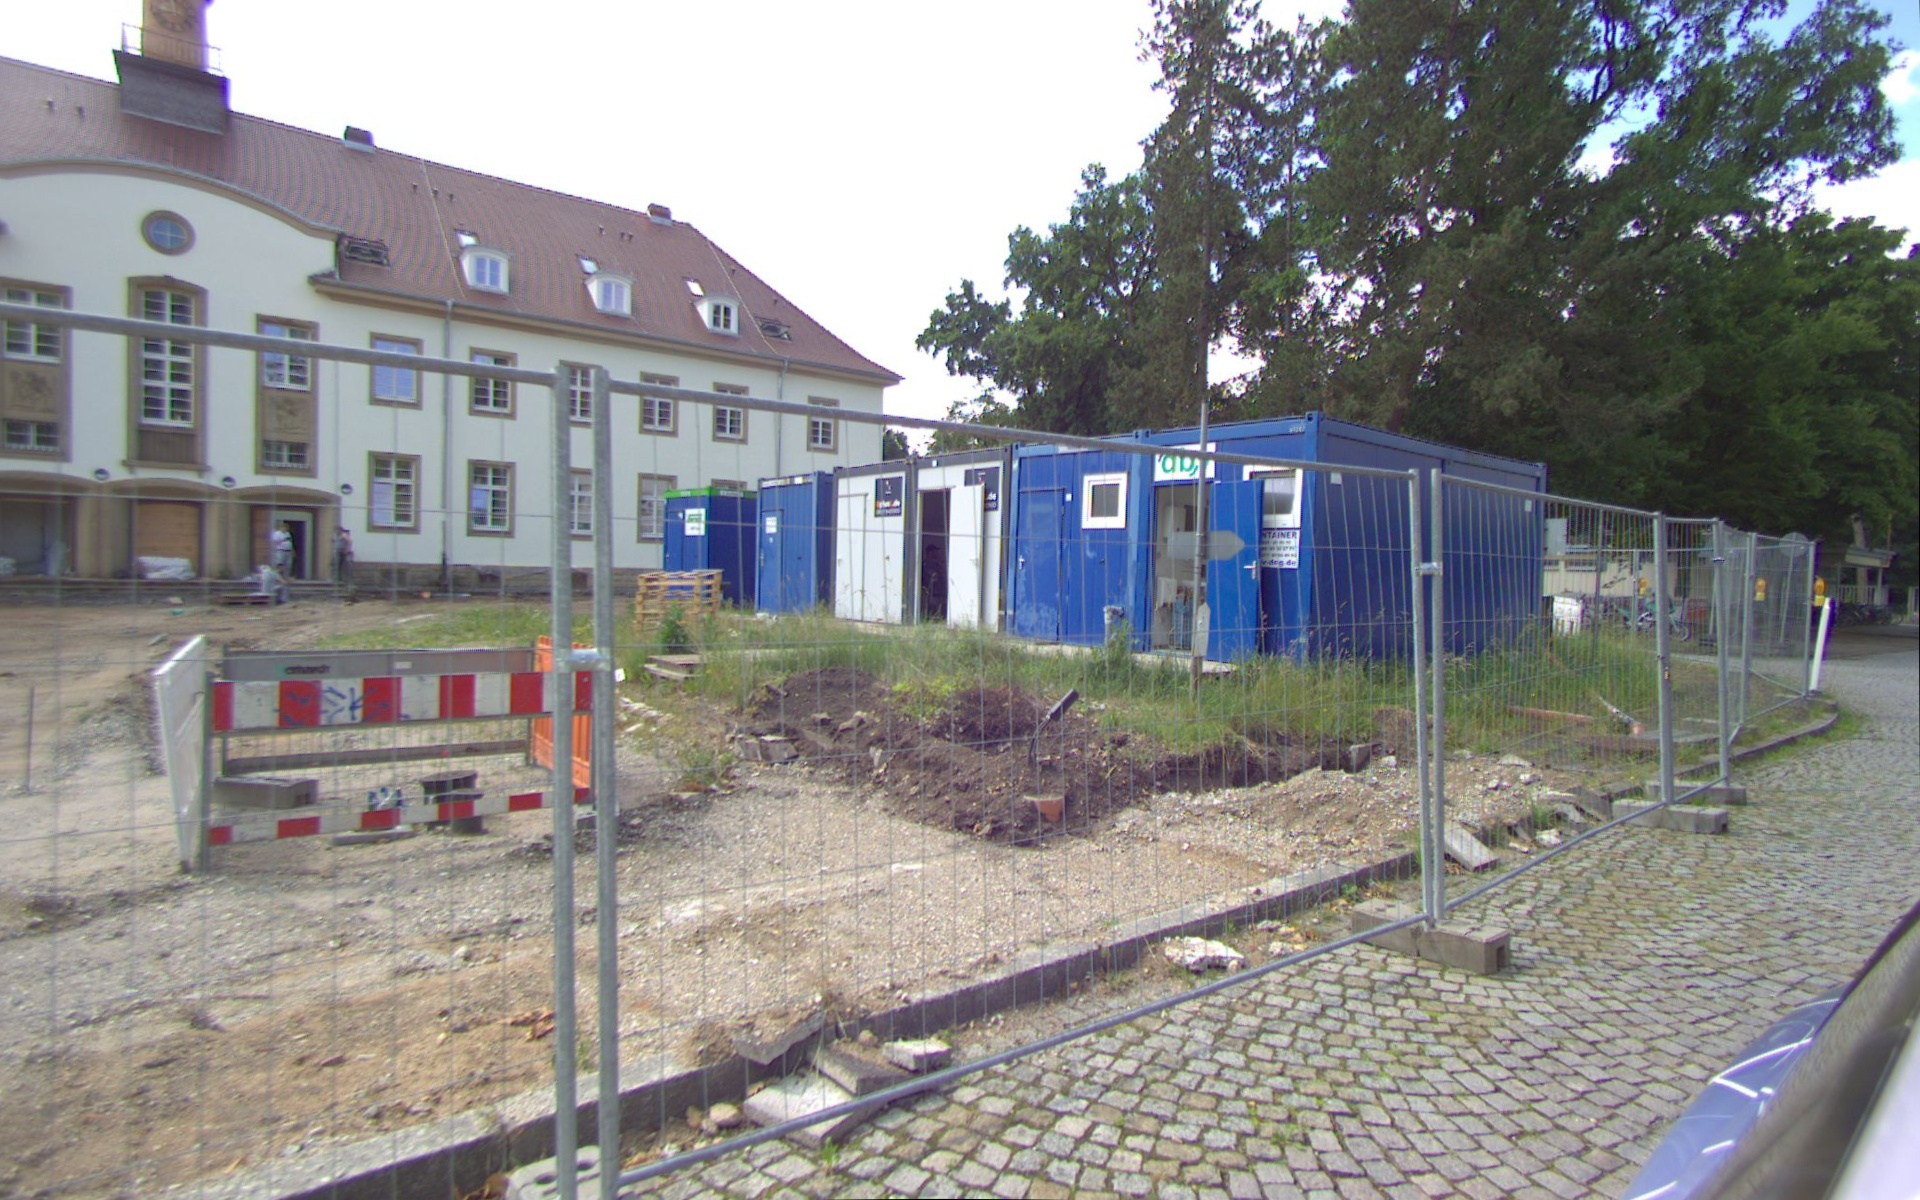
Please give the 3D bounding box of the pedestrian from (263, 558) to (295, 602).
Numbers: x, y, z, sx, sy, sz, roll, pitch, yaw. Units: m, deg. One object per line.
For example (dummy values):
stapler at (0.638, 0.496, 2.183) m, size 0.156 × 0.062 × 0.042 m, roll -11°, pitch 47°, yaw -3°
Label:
pedestrian at (-19.290, -0.577, 28.653) m, size 0.709 × 1.225 × 0.669 m, roll 0°, pitch 1°, yaw -38°

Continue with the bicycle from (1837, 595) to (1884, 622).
bicycle at (44.581, 0.433, 50.115) m, size 1.628 × 1.204 × 0.492 m, roll 5°, pitch 3°, yaw 40°

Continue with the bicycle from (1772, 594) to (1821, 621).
bicycle at (41.244, 0.360, 49.932) m, size 0.598 × 1.179 × 1.744 m, roll 1°, pitch 3°, yaw -42°

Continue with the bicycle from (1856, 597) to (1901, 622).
bicycle at (47.434, 0.499, 52.277) m, size 0.350 × 1.154 × 1.614 m, roll 1°, pitch 3°, yaw -45°

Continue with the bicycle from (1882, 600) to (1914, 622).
bicycle at (48.696, 0.587, 52.530) m, size 1.144 × 1.076 × 0.284 m, roll 2°, pitch 1°, yaw 32°

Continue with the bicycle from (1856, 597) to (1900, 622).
bicycle at (46.859, 0.494, 51.667) m, size 0.320 × 1.154 × 1.614 m, roll 1°, pitch 3°, yaw -45°

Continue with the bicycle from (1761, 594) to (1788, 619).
bicycle at (38.181, 0.310, 47.422) m, size 1.606 × 1.130 × 0.598 m, roll 1°, pitch 3°, yaw -40°

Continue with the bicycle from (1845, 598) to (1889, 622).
bicycle at (45.572, 0.486, 50.854) m, size 0.320 × 1.062 × 1.593 m, roll 1°, pitch 3°, yaw -45°

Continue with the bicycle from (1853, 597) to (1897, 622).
bicycle at (46.476, 0.464, 51.412) m, size 0.320 × 1.154 × 1.614 m, roll 1°, pitch 3°, yaw -45°

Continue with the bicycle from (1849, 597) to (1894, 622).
bicycle at (45.940, 0.464, 51.028) m, size 0.320 × 1.154 × 1.593 m, roll 1°, pitch 3°, yaw -45°

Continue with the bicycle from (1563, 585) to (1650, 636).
bicycle at (17.088, 0.255, 26.797) m, size 0.642 × 1.212 × 1.909 m, roll 2°, pitch 2°, yaw -19°

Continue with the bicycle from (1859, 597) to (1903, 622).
bicycle at (47.188, 0.494, 51.860) m, size 0.320 × 1.154 × 1.614 m, roll 1°, pitch 3°, yaw -45°

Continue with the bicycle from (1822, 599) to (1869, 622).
bicycle at (42.455, 0.515, 48.549) m, size 1.616 × 0.988 × 0.320 m, roll 4°, pitch 2°, yaw 22°

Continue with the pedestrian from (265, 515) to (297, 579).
pedestrian at (-20.032, -1.546, 29.863) m, size 0.722 × 1.857 × 0.646 m, roll 0°, pitch 1°, yaw -40°

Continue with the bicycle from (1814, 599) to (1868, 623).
bicycle at (41.897, 0.513, 48.134) m, size 1.726 × 0.988 × 0.753 m, roll 4°, pitch 3°, yaw 22°

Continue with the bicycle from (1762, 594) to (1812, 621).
bicycle at (40.374, 0.358, 49.406) m, size 0.598 × 1.179 × 1.744 m, roll 1°, pitch 3°, yaw -42°

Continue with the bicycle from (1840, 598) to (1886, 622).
bicycle at (45.049, 0.487, 50.494) m, size 1.627 × 1.062 × 0.330 m, roll 5°, pitch 3°, yaw 38°

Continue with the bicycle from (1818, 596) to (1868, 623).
bicycle at (41.360, 0.437, 47.411) m, size 1.674 × 1.121 × 0.334 m, roll 5°, pitch 3°, yaw 39°

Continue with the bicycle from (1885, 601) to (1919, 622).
bicycle at (49.203, 0.605, 52.727) m, size 1.392 × 1.059 × 0.336 m, roll 2°, pitch 1°, yaw 26°

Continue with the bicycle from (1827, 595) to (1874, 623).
bicycle at (43.030, 0.418, 48.933) m, size 1.627 × 1.204 × 0.467 m, roll 5°, pitch 3°, yaw 39°

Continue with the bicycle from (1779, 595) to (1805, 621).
bicycle at (38.595, 0.376, 46.932) m, size 1.606 × 1.130 × 0.598 m, roll 1°, pitch 3°, yaw -40°

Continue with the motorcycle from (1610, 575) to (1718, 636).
motorcycle at (19.260, 0.125, 27.731) m, size 0.744 × 1.503 × 2.280 m, roll 1°, pitch 2°, yaw -43°

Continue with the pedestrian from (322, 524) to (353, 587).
pedestrian at (-18.784, -1.348, 30.536) m, size 0.636 × 1.857 × 0.876 m, roll 0°, pitch 1°, yaw -41°
